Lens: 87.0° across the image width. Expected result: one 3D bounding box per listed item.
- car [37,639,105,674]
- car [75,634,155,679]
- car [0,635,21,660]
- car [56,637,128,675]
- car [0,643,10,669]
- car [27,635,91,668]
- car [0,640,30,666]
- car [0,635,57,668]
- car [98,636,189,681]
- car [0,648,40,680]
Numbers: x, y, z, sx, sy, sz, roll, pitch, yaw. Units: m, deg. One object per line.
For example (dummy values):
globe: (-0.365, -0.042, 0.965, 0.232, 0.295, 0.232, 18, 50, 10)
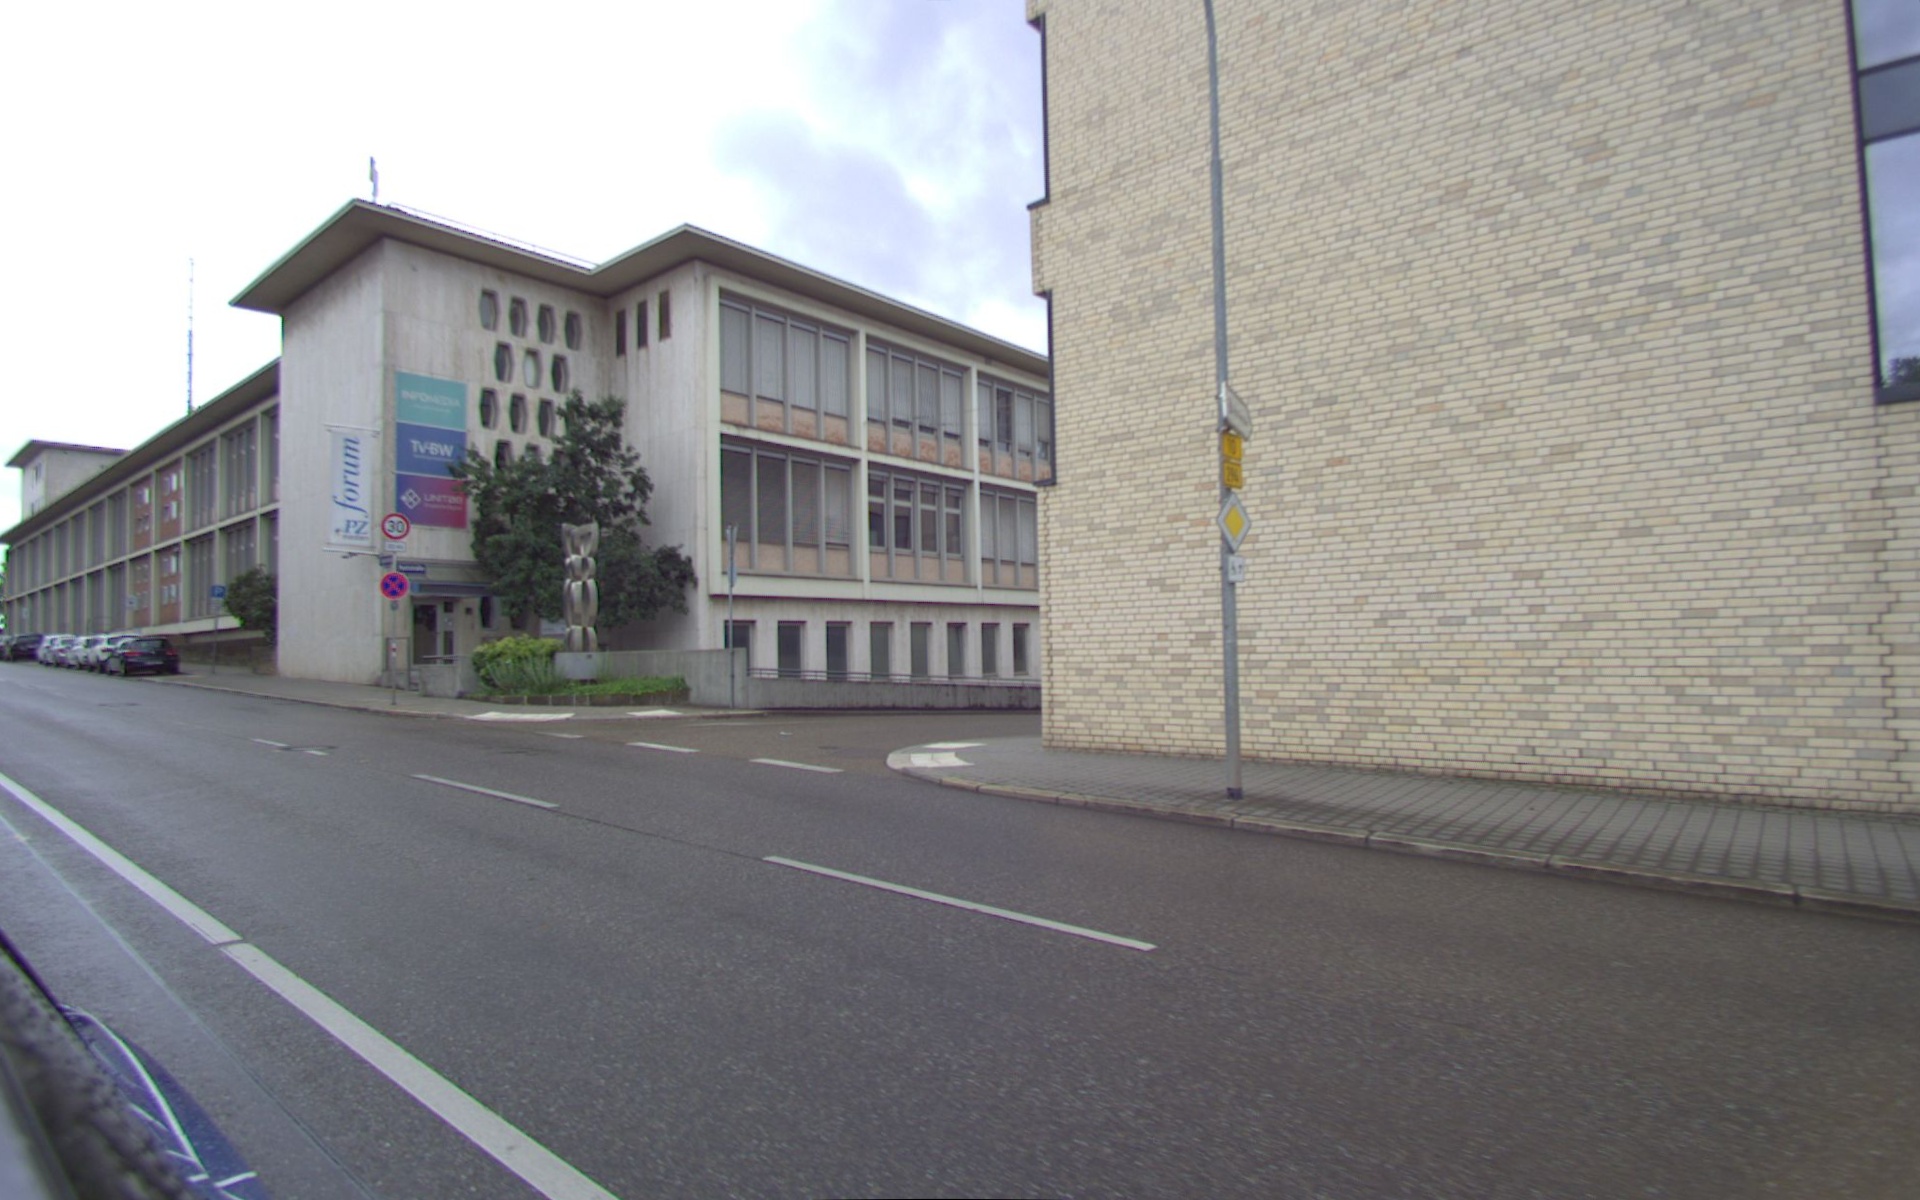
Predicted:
car: (-43.494, 2.713, 49.497, 4.184, 1.502, 1.973, -1, 0, 41)
car: (-35.555, 2.317, 42.550, 3.998, 1.654, 1.973, -1, 0, 41)
car: (-66.786, 3.299, 70.173, 3.997, 1.548, 1.973, -1, 0, 41)
car: (-39.435, 2.514, 45.959, 3.999, 1.523, 1.972, -1, 0, 42)
car: (-70.251, 4.083, 73.020, 3.997, 1.659, 1.974, 0, 2, 40)
car: (-47.564, 2.680, 53.389, 3.997, 1.541, 1.973, -1, 0, 40)
car: (-63.544, 3.509, 67.389, 3.998, 1.590, 1.973, -1, 0, 41)
car: (-54.449, 2.951, 59.130, 3.997, 1.724, 1.973, -1, 0, 40)
car: (-31.550, 2.212, 39.071, 3.996, 1.541, 1.974, -1, 0, 39)
car: (-58.774, 3.966, 62.747, 3.996, 1.747, 1.974, -1, 0, 39)
